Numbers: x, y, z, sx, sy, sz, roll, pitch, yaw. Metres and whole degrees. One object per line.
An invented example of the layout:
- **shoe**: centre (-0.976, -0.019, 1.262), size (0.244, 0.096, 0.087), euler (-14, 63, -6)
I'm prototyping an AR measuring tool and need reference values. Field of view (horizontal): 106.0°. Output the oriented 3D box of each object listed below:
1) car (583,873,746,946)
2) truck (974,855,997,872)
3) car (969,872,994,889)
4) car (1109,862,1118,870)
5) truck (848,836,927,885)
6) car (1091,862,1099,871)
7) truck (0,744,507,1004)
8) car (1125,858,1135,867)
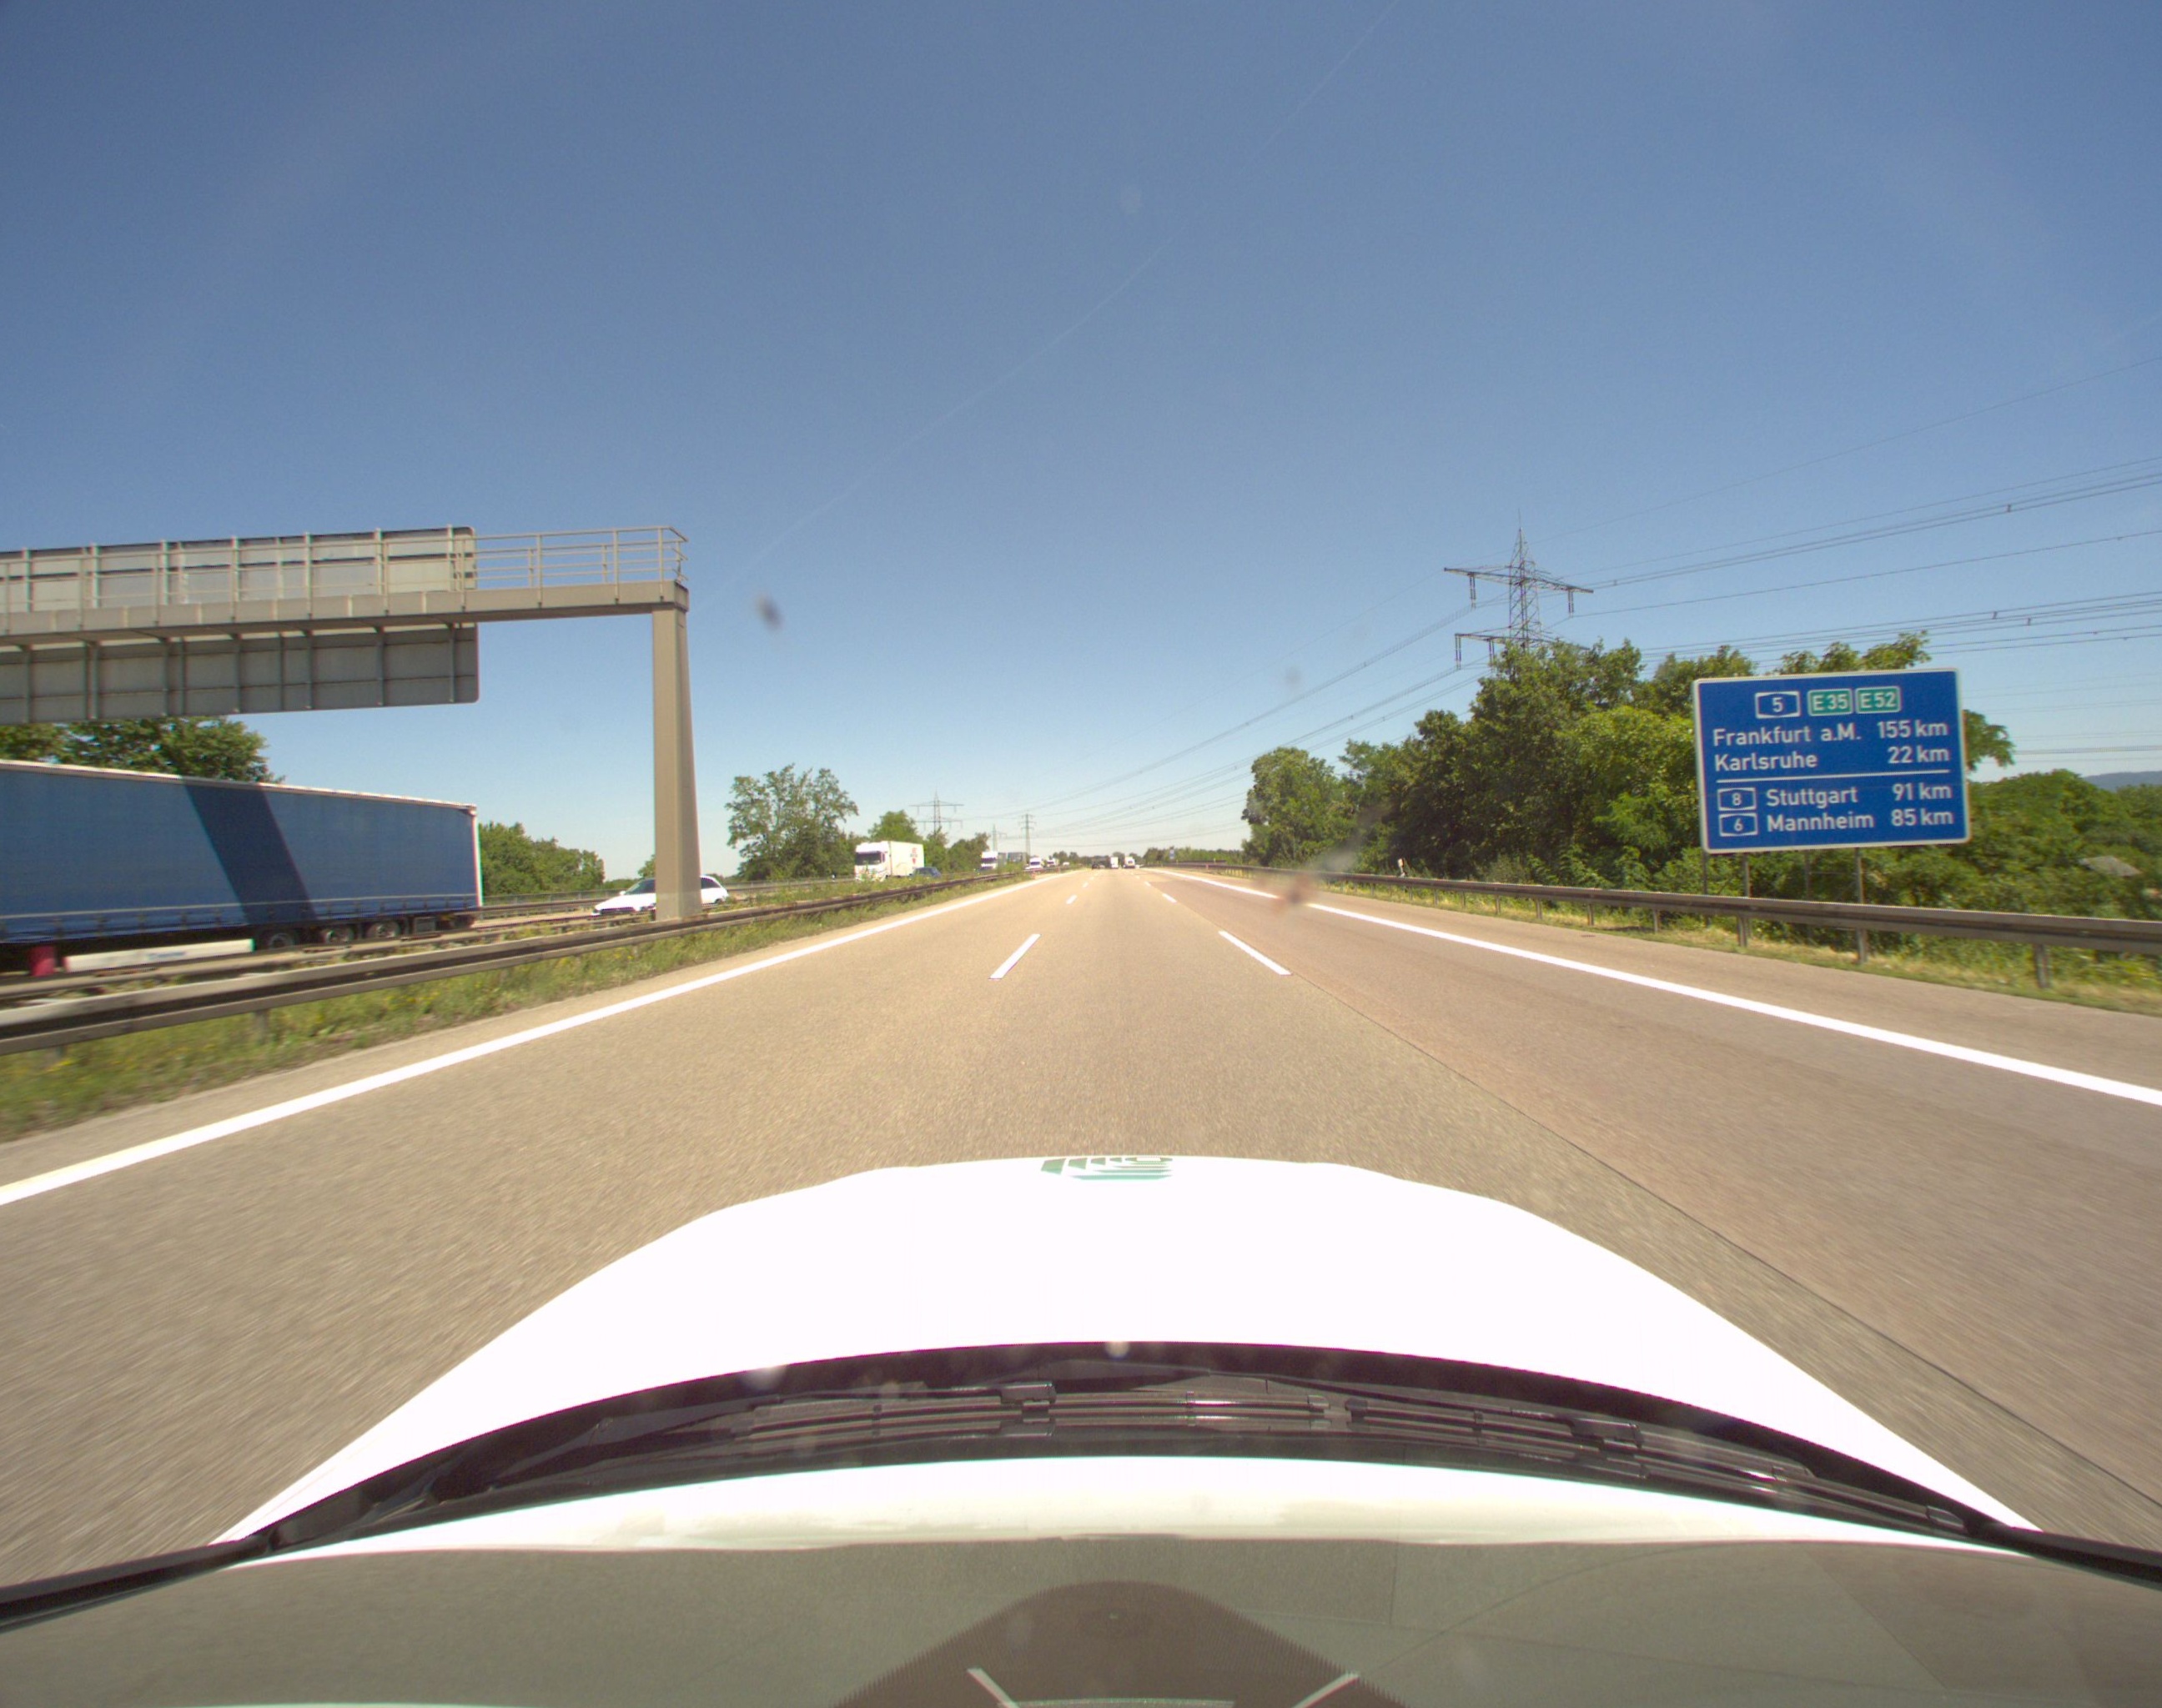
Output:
- **car**: centre (-12.033, 1.518, 24.012), size (1.986, 1.734, 5.078), euler (-2, 0, 2)
- **truck**: centre (-15.367, 1.508, 131.939), size (2.493, 2.464, 12.282), euler (-2, 0, -2)
- **car**: centre (-10.581, 2.816, 86.781), size (1.986, 1.651, 4.001), euler (-2, 0, 2)
- **car**: centre (8.900, 3.339, 222.002), size (2.166, 1.929, 4.618), euler (-3, 0, 6)
- **truck**: centre (-18.033, 0.602, 77.672), size (2.950, 4.091, 17.032), euler (-2, 0, 1)
- **car**: centre (3.277, 2.794, 187.359), size (1.784, 2.013, 3.890), euler (-1, 0, 2)
- **truck**: centre (-19.493, 0.395, 16.567), size (2.702, 4.389, 17.334), euler (-2, 0, 2)
- **car**: centre (11.031, 1.861, 182.897), size (1.986, 2.013, 4.001), euler (-3, 0, 2)
